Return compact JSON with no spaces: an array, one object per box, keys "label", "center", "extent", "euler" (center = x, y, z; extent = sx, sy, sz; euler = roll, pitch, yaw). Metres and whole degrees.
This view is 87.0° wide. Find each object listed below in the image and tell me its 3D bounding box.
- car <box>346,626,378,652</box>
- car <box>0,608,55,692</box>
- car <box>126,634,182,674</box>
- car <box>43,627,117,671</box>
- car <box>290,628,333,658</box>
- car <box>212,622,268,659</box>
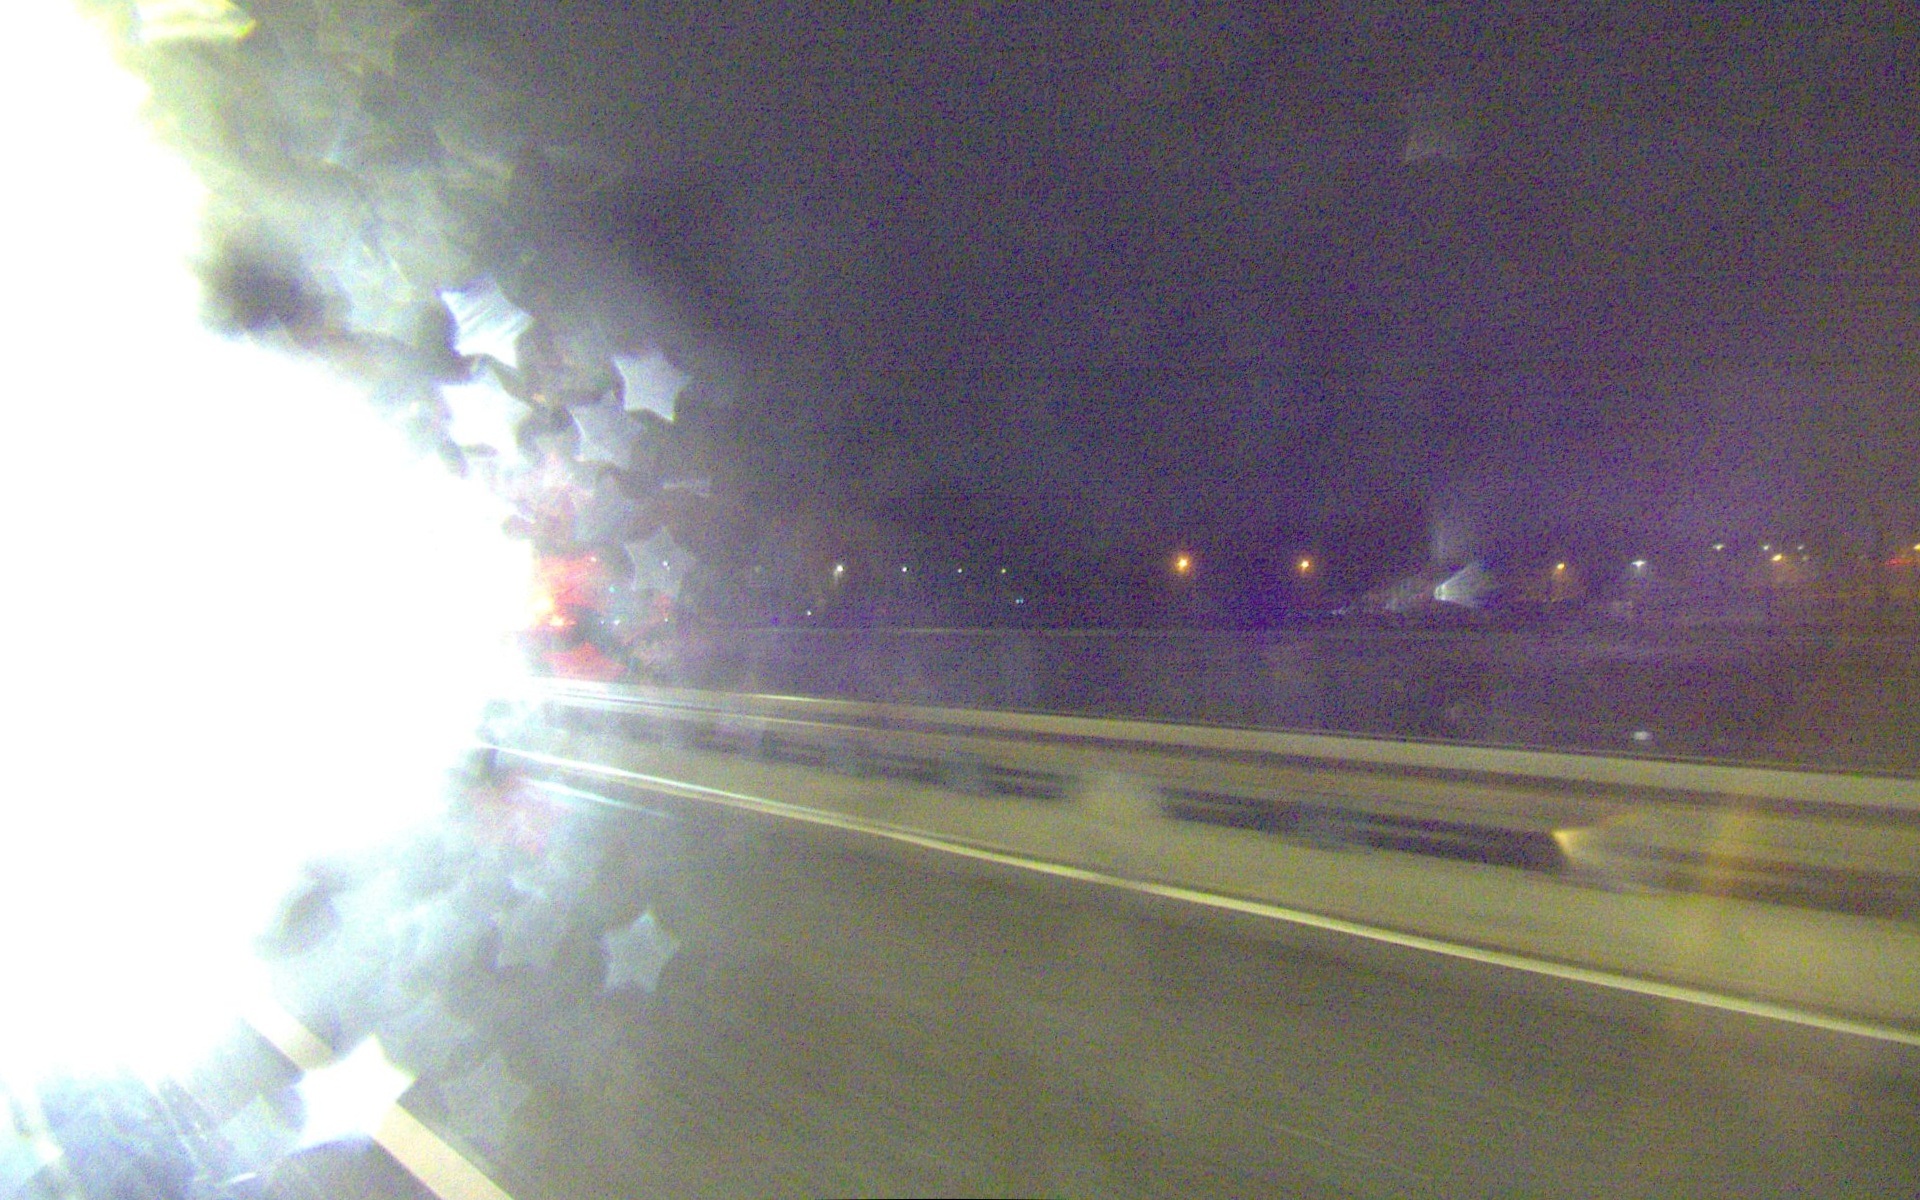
[{"label":"car","center":[-53.941,3.562,91.347],"extent":[1.628,2.028,4.012],"euler":[-8,0,-21]},{"label":"car","center":[-24.801,1.256,25.965],"extent":[1.967,2.029,4.009],"euler":[2,-2,-37]},{"label":"car","center":[-38.476,2.538,48.364],"extent":[1.284,1.539,3.056],"euler":[-8,4,-26]},{"label":"car","center":[-32.747,1.806,37.741],"extent":[1.497,1.537,3.116],"euler":[0,-2,-30]},{"label":"car","center":[-49.740,3.330,77.668],"extent":[1.628,2.028,4.012],"euler":[-8,0,-19]},{"label":"car","center":[-44.950,2.578,63.237],"extent":[1.628,2.028,4.012],"euler":[-8,0,-20]}]
